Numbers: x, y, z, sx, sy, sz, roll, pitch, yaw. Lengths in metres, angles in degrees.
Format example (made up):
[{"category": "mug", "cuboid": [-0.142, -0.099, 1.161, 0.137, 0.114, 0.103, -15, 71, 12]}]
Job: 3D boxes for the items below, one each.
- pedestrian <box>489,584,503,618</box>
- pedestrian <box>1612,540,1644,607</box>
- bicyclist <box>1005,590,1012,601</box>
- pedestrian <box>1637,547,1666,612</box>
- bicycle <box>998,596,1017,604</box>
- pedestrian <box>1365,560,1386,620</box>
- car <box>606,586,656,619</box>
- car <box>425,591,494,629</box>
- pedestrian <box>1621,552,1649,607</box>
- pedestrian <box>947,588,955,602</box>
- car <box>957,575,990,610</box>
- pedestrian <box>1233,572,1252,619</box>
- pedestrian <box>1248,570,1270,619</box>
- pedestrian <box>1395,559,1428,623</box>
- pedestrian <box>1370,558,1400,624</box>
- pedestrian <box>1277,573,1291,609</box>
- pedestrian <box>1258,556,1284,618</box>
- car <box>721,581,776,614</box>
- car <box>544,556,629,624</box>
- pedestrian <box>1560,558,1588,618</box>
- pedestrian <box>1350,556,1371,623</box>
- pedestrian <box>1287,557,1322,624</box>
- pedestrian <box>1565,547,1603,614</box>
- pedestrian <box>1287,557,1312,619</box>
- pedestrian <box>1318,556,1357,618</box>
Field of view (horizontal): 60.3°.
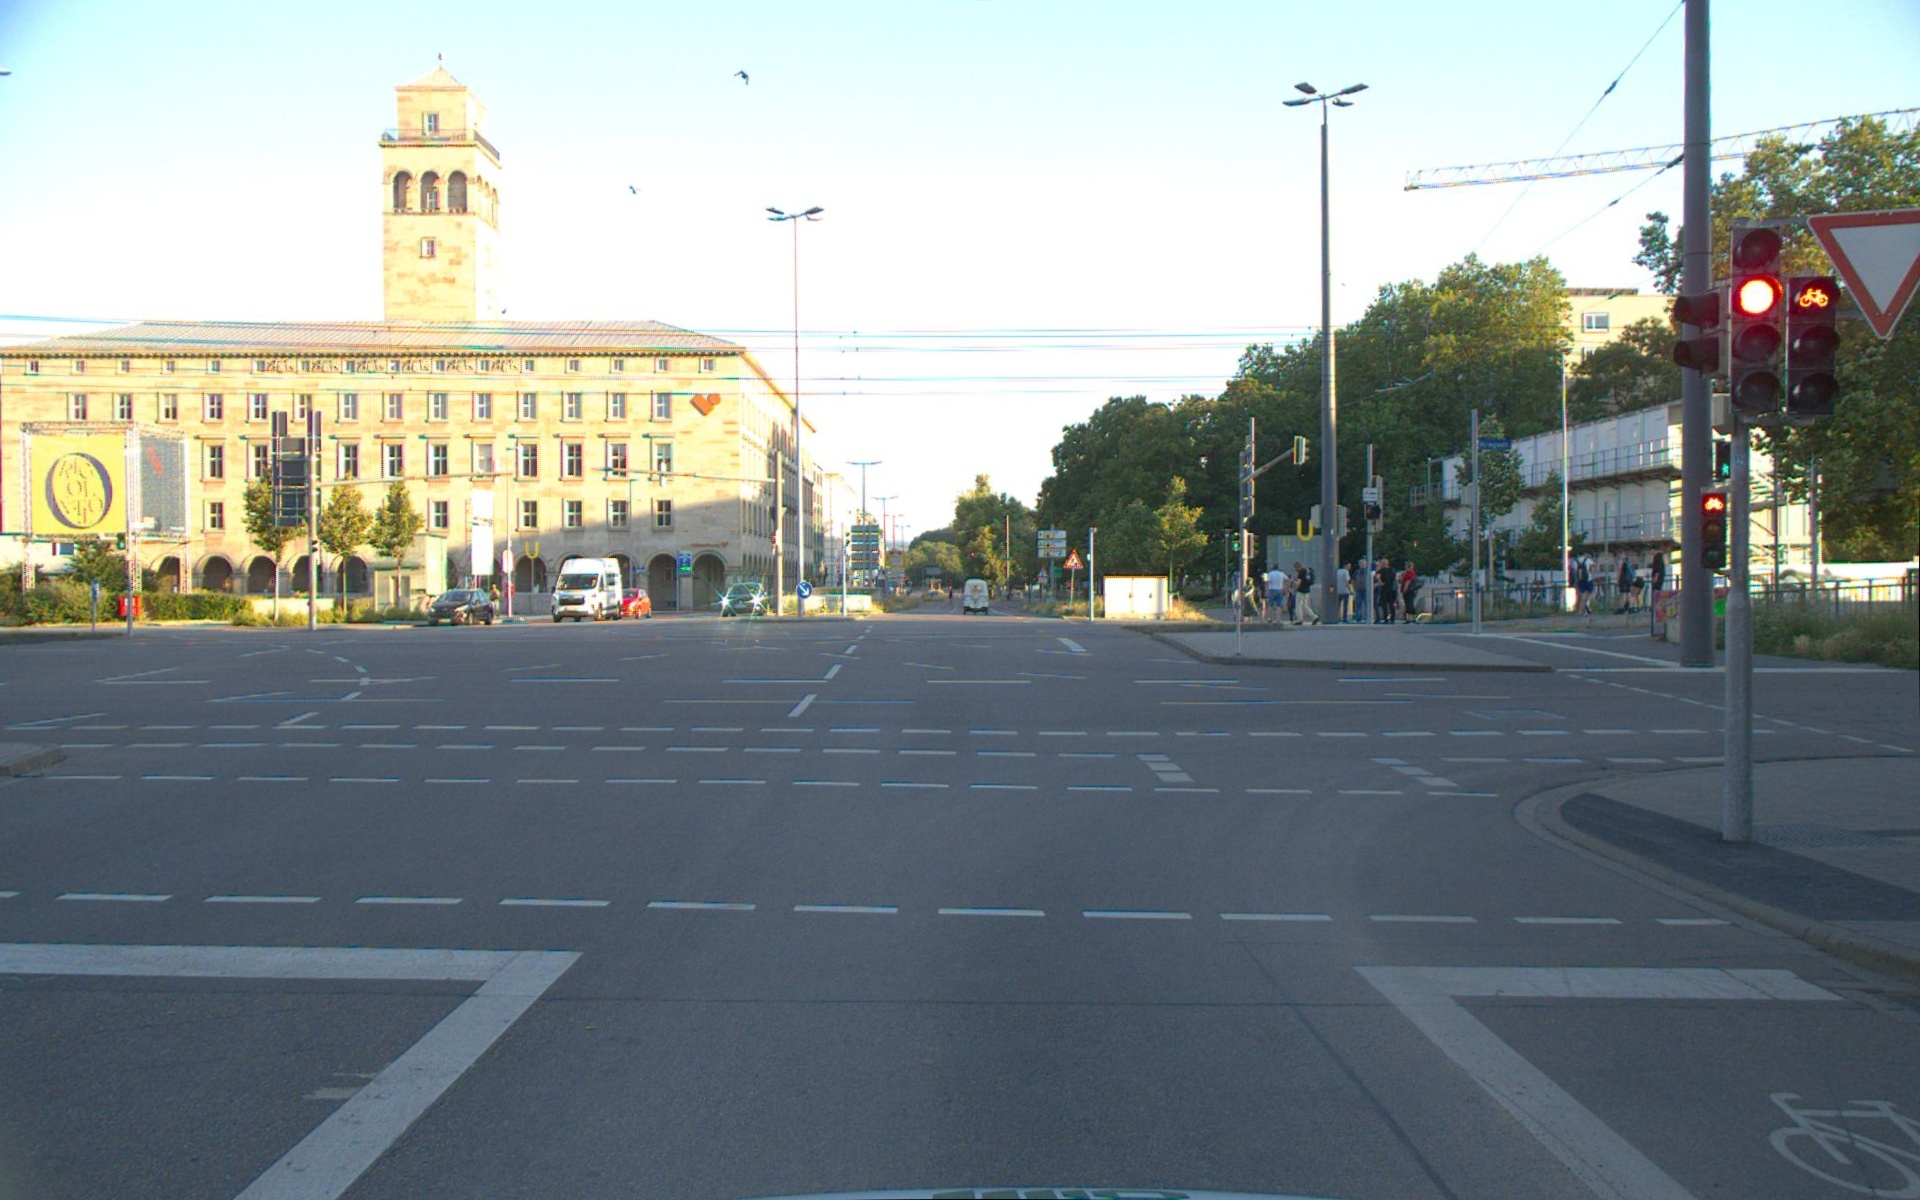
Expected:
[{"category": "pedestrian", "cuboid": [-24.468, 0.060, 87.179, 0.609, 1.774, 0.459, 1, -1, -6]}, {"category": "pedestrian", "cuboid": [17.637, -0.692, 43.676, 0.696, 1.755, 0.669, 0, 1, 16]}, {"category": "bicyclist", "cuboid": [6.574, -0.608, 225.494, 0.815, 1.489, 0.659, -1, 1, -11]}, {"category": "pedestrian", "cuboid": [18.899, -0.568, 45.194, 0.653, 1.755, 0.712, 0, 1, 28]}, {"category": "bicycle", "cuboid": [6.475, -0.020, 225.455, 2.555, 0.975, 0.513, 1, -1, -12]}, {"category": "pedestrian", "cuboid": [11.891, -0.284, 47.307, 0.560, 1.708, 0.639, 0, 1, 13]}, {"category": "car", "cuboid": [-16.059, 0.117, 80.933, 1.703, 1.513, 4.000, -1, 1, -1]}, {"category": "car", "cuboid": [-21.134, 0.405, 69.989, 1.786, 1.491, 4.156, -1, 1, -2]}, {"category": "pedestrian", "cuboid": [18.069, -0.547, 44.289, 0.662, 1.466, 0.714, 0, 0, 21]}, {"category": "pedestrian", "cuboid": [-1.101, -0.601, 194.741, 0.888, 1.700, 1.306, -1, 1, -2]}, {"category": "car", "cuboid": [0.671, -0.397, 85.403, 1.454, 1.725, 2.971, -1, 1, -5]}, {"category": "pedestrian", "cuboid": [10.417, -0.168, 61.001, 0.548, 1.683, 0.902, 0, 1, 20]}, {"category": "pedestrian", "cuboid": [11.001, -0.208, 60.797, 0.665, 1.788, 0.902, 0, 1, 20]}, {"category": "pedestrian", "cuboid": [12.611, -0.265, 46.201, 0.826, 1.764, 0.706, 0, 1, 11]}, {"category": "pedestrian", "cuboid": [11.777, -0.251, 45.853, 0.788, 1.822, 0.801, 0, 1, 13]}, {"category": "pedestrian", "cuboid": [17.074, -0.474, 87.200, 0.652, 1.874, 0.713, 0, 1, 4]}, {"category": "pedestrian", "cuboid": [8.942, -0.370, 47.504, 0.695, 1.755, 0.669, 0, 1, 13]}, {"category": "car", "cuboid": [-9.252, -0.130, 72.488, 1.785, 1.365, 4.001, 0, 1, 1]}, {"category": "car", "cuboid": [-16.241, -0.468, 72.233, 2.232, 2.824, 6.085, -1, 1, 1]}, {"category": "pedestrian", "cuboid": [16.685, -0.337, 44.959, 0.559, 1.620, 0.536, -1, 0, -1]}, {"category": "pedestrian", "cuboid": [11.097, -0.291, 45.870, 0.560, 1.822, 0.639, 0, 1, 13]}, {"category": "pedestrian", "cuboid": [9.099, -0.265, 43.665, 0.892, 1.755, 0.714, 0, 1, 12]}, {"category": "pedestrian", "cuboid": [16.477, -0.514, 43.673, 0.659, 1.755, 0.706, -1, 1, -30]}, {"category": "pedestrian", "cuboid": [9.746, -0.357, 47.456, 0.695, 1.755, 0.669, 0, 1, 13]}, {"category": "pedestrian", "cuboid": [10.689, -0.369, 46.839, 0.894, 1.755, 0.713, 0, 1, -3]}]
